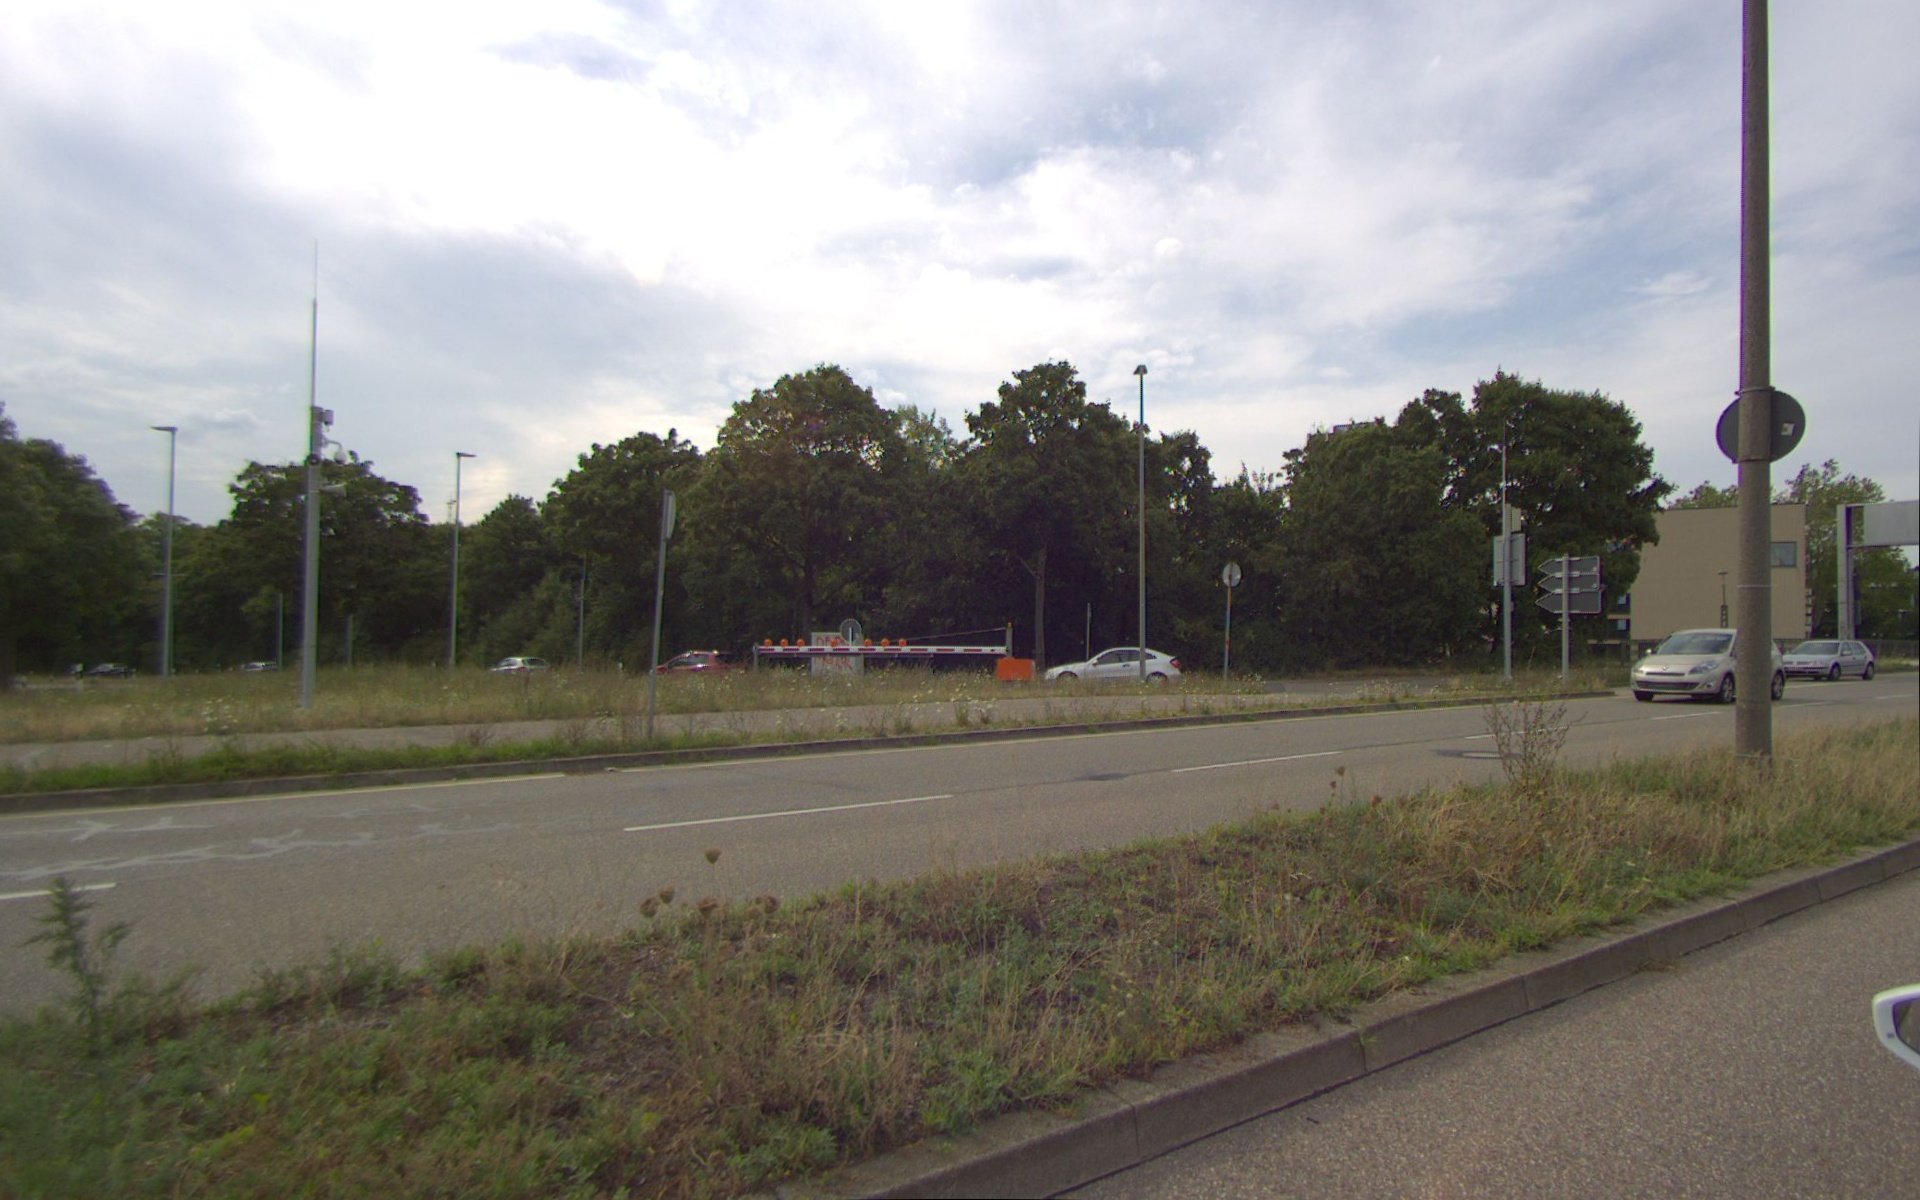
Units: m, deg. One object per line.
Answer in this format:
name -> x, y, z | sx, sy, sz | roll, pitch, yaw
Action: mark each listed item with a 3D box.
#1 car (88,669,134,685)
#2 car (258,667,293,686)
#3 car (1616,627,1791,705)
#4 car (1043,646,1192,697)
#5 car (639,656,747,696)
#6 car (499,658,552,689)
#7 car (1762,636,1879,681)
car -> -79.963, 7.273, 94.607 | 3.802, 1.414, 1.575 | -1, -2, 18
car -> -55.433, 6.154, 81.293 | 3.826, 1.414, 1.565 | -2, -3, 44
car -> 17.130, 1.450, 23.086 | 4.515, 1.619, 1.735 | 1, -2, -33
car -> 4.745, 2.180, 30.828 | 4.371, 1.465, 1.752 | 0, -2, 4
car -> -9.974, 2.800, 37.482 | 4.106, 1.386, 1.514 | -2, -2, 32
car -> -19.690, 3.309, 45.498 | 1.264, 1.290, 2.970 | 1, -3, -44
car -> 30.704, 2.050, 35.824 | 4.037, 1.437, 1.661 | -1, -2, -26
